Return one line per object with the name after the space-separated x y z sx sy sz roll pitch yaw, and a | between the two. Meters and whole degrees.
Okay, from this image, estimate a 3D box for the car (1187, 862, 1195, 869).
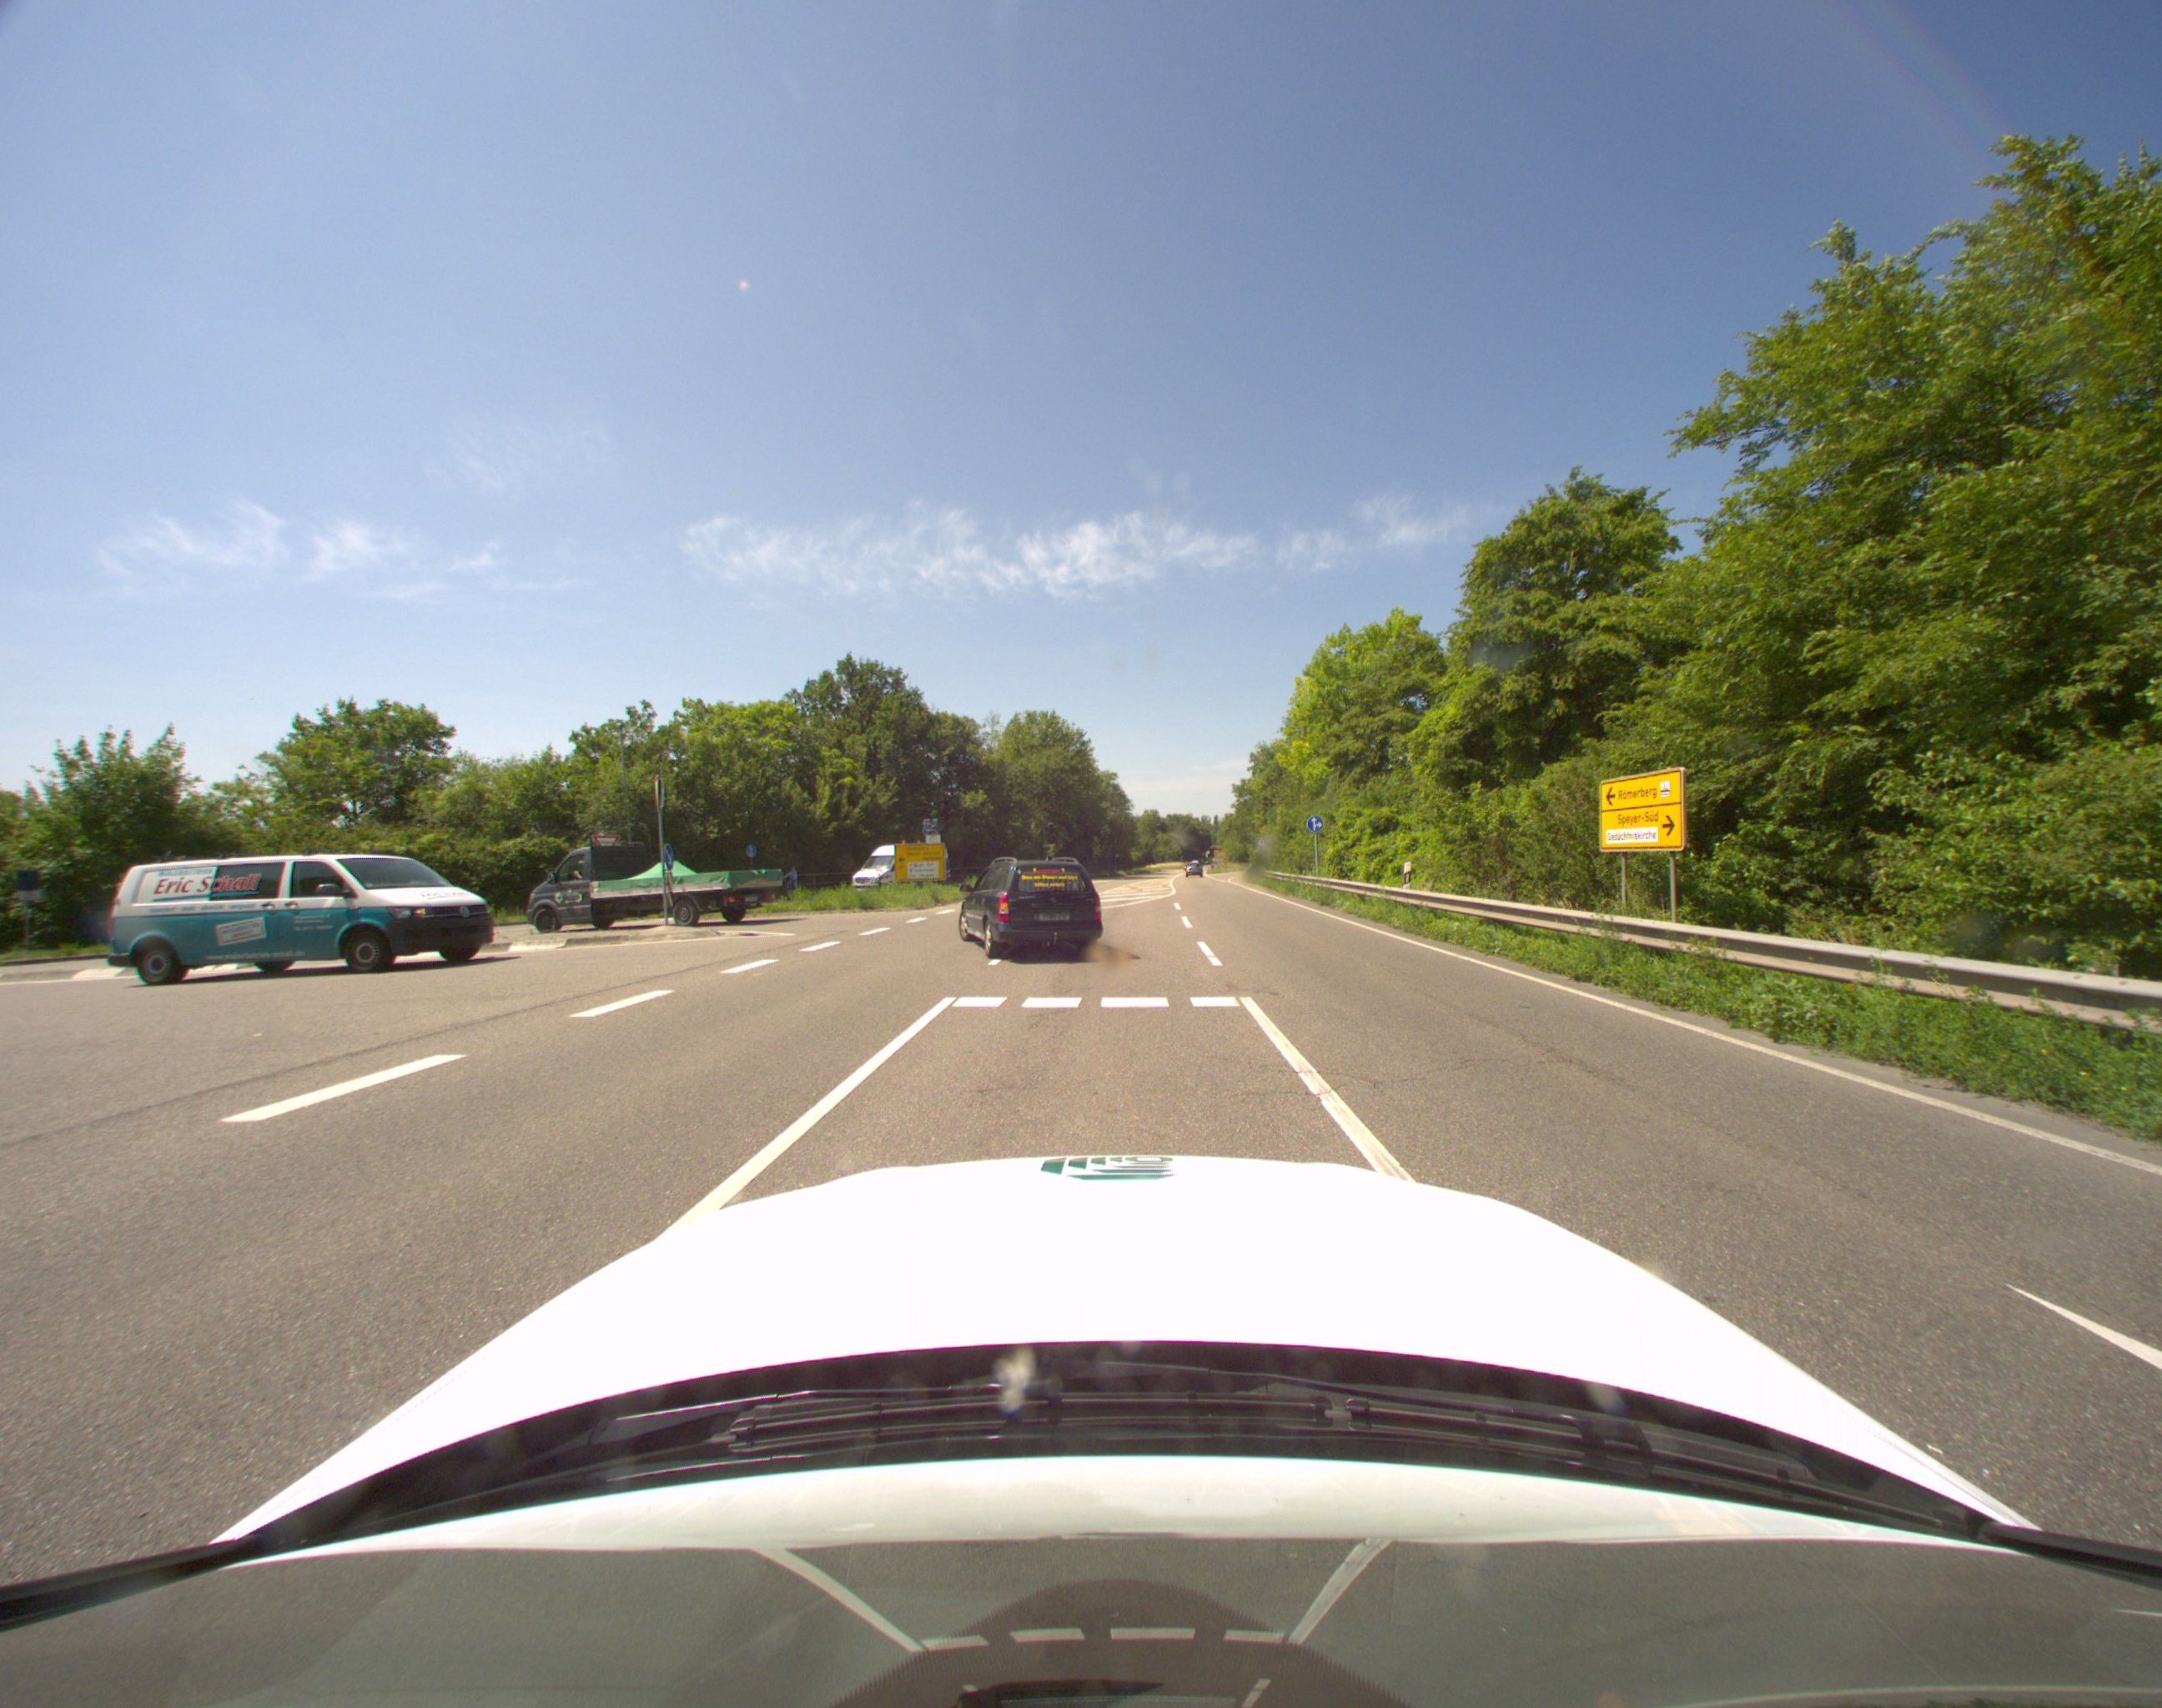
23.527 2.376 174.105 1.799 1.458 3.767 -1 0 9 | car

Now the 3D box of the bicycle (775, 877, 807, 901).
-14.445 1.724 40.597 0.431 1.113 1.491 -2 0 35 | bicycle

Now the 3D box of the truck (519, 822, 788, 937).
-11.479 0.717 21.913 6.568 2.565 2.154 -4 -1 15 | truck

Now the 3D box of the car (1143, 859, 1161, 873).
15.941 2.720 183.388 2.003 3.226 4.769 -1 0 -25 | car

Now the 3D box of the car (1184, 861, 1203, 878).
11.797 1.587 85.429 1.833 1.684 4.008 -1 0 7 | car

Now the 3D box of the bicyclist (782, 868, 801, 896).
-14.438 1.375 40.620 0.681 1.363 0.613 -1 0 36 | bicyclist

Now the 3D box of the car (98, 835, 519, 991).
-12.661 0.918 13.579 5.148 2.027 2.002 -5 0 4 | car

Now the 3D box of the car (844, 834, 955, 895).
-9.146 0.509 41.695 2.085 2.850 6.048 -1 -1 28 | car

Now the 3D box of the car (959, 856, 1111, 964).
-0.897 0.776 13.313 1.723 1.457 3.778 -1 0 -15 | car
